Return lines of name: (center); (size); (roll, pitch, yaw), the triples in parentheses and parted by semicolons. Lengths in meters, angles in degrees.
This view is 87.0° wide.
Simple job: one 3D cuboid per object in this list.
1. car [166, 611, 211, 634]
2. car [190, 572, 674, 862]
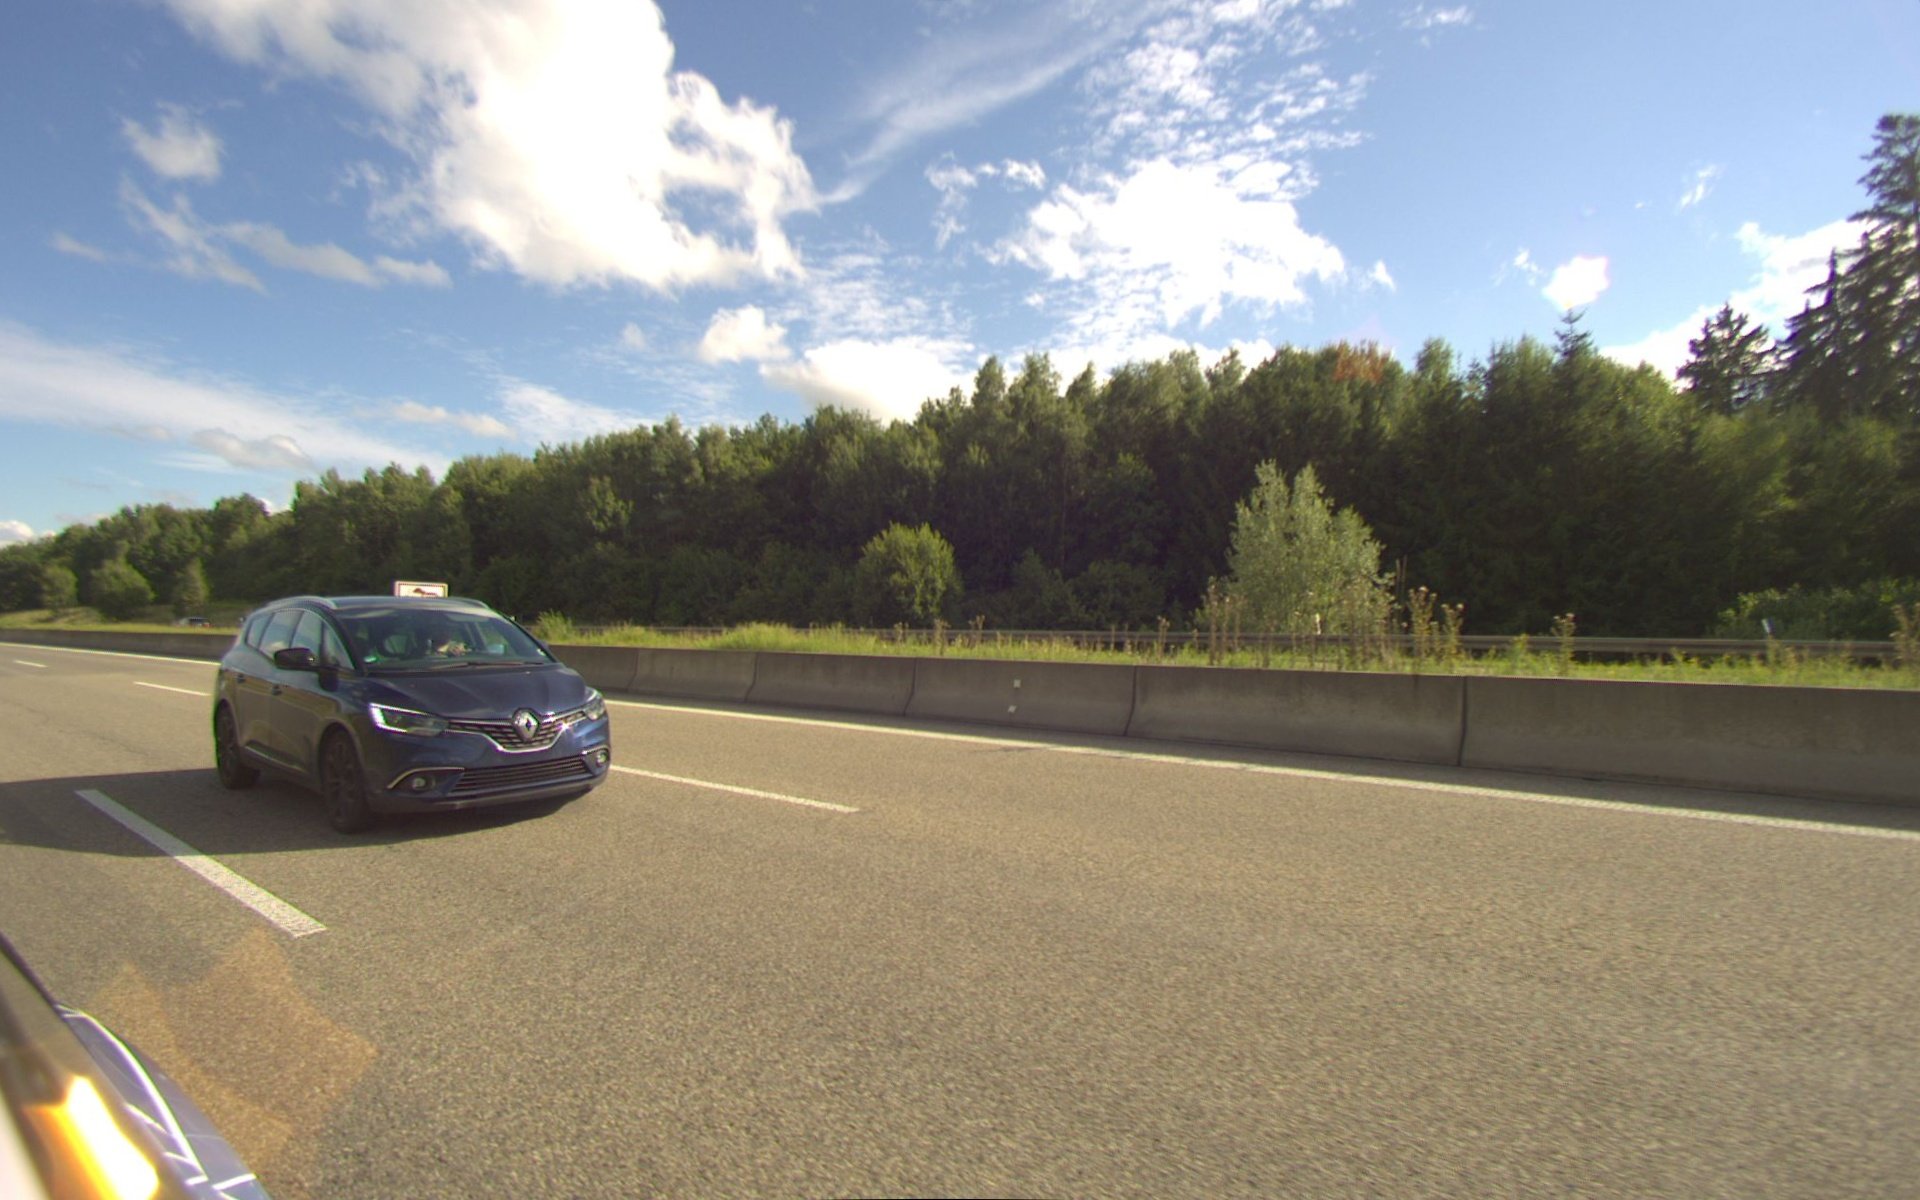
car: (-60.165, 1.766, 78.934); (4.046, 1.760, 1.973); (-1, -1, 40)
car: (-4.473, 0.709, 8.237); (4.527, 1.719, 1.973); (-1, 0, 41)
